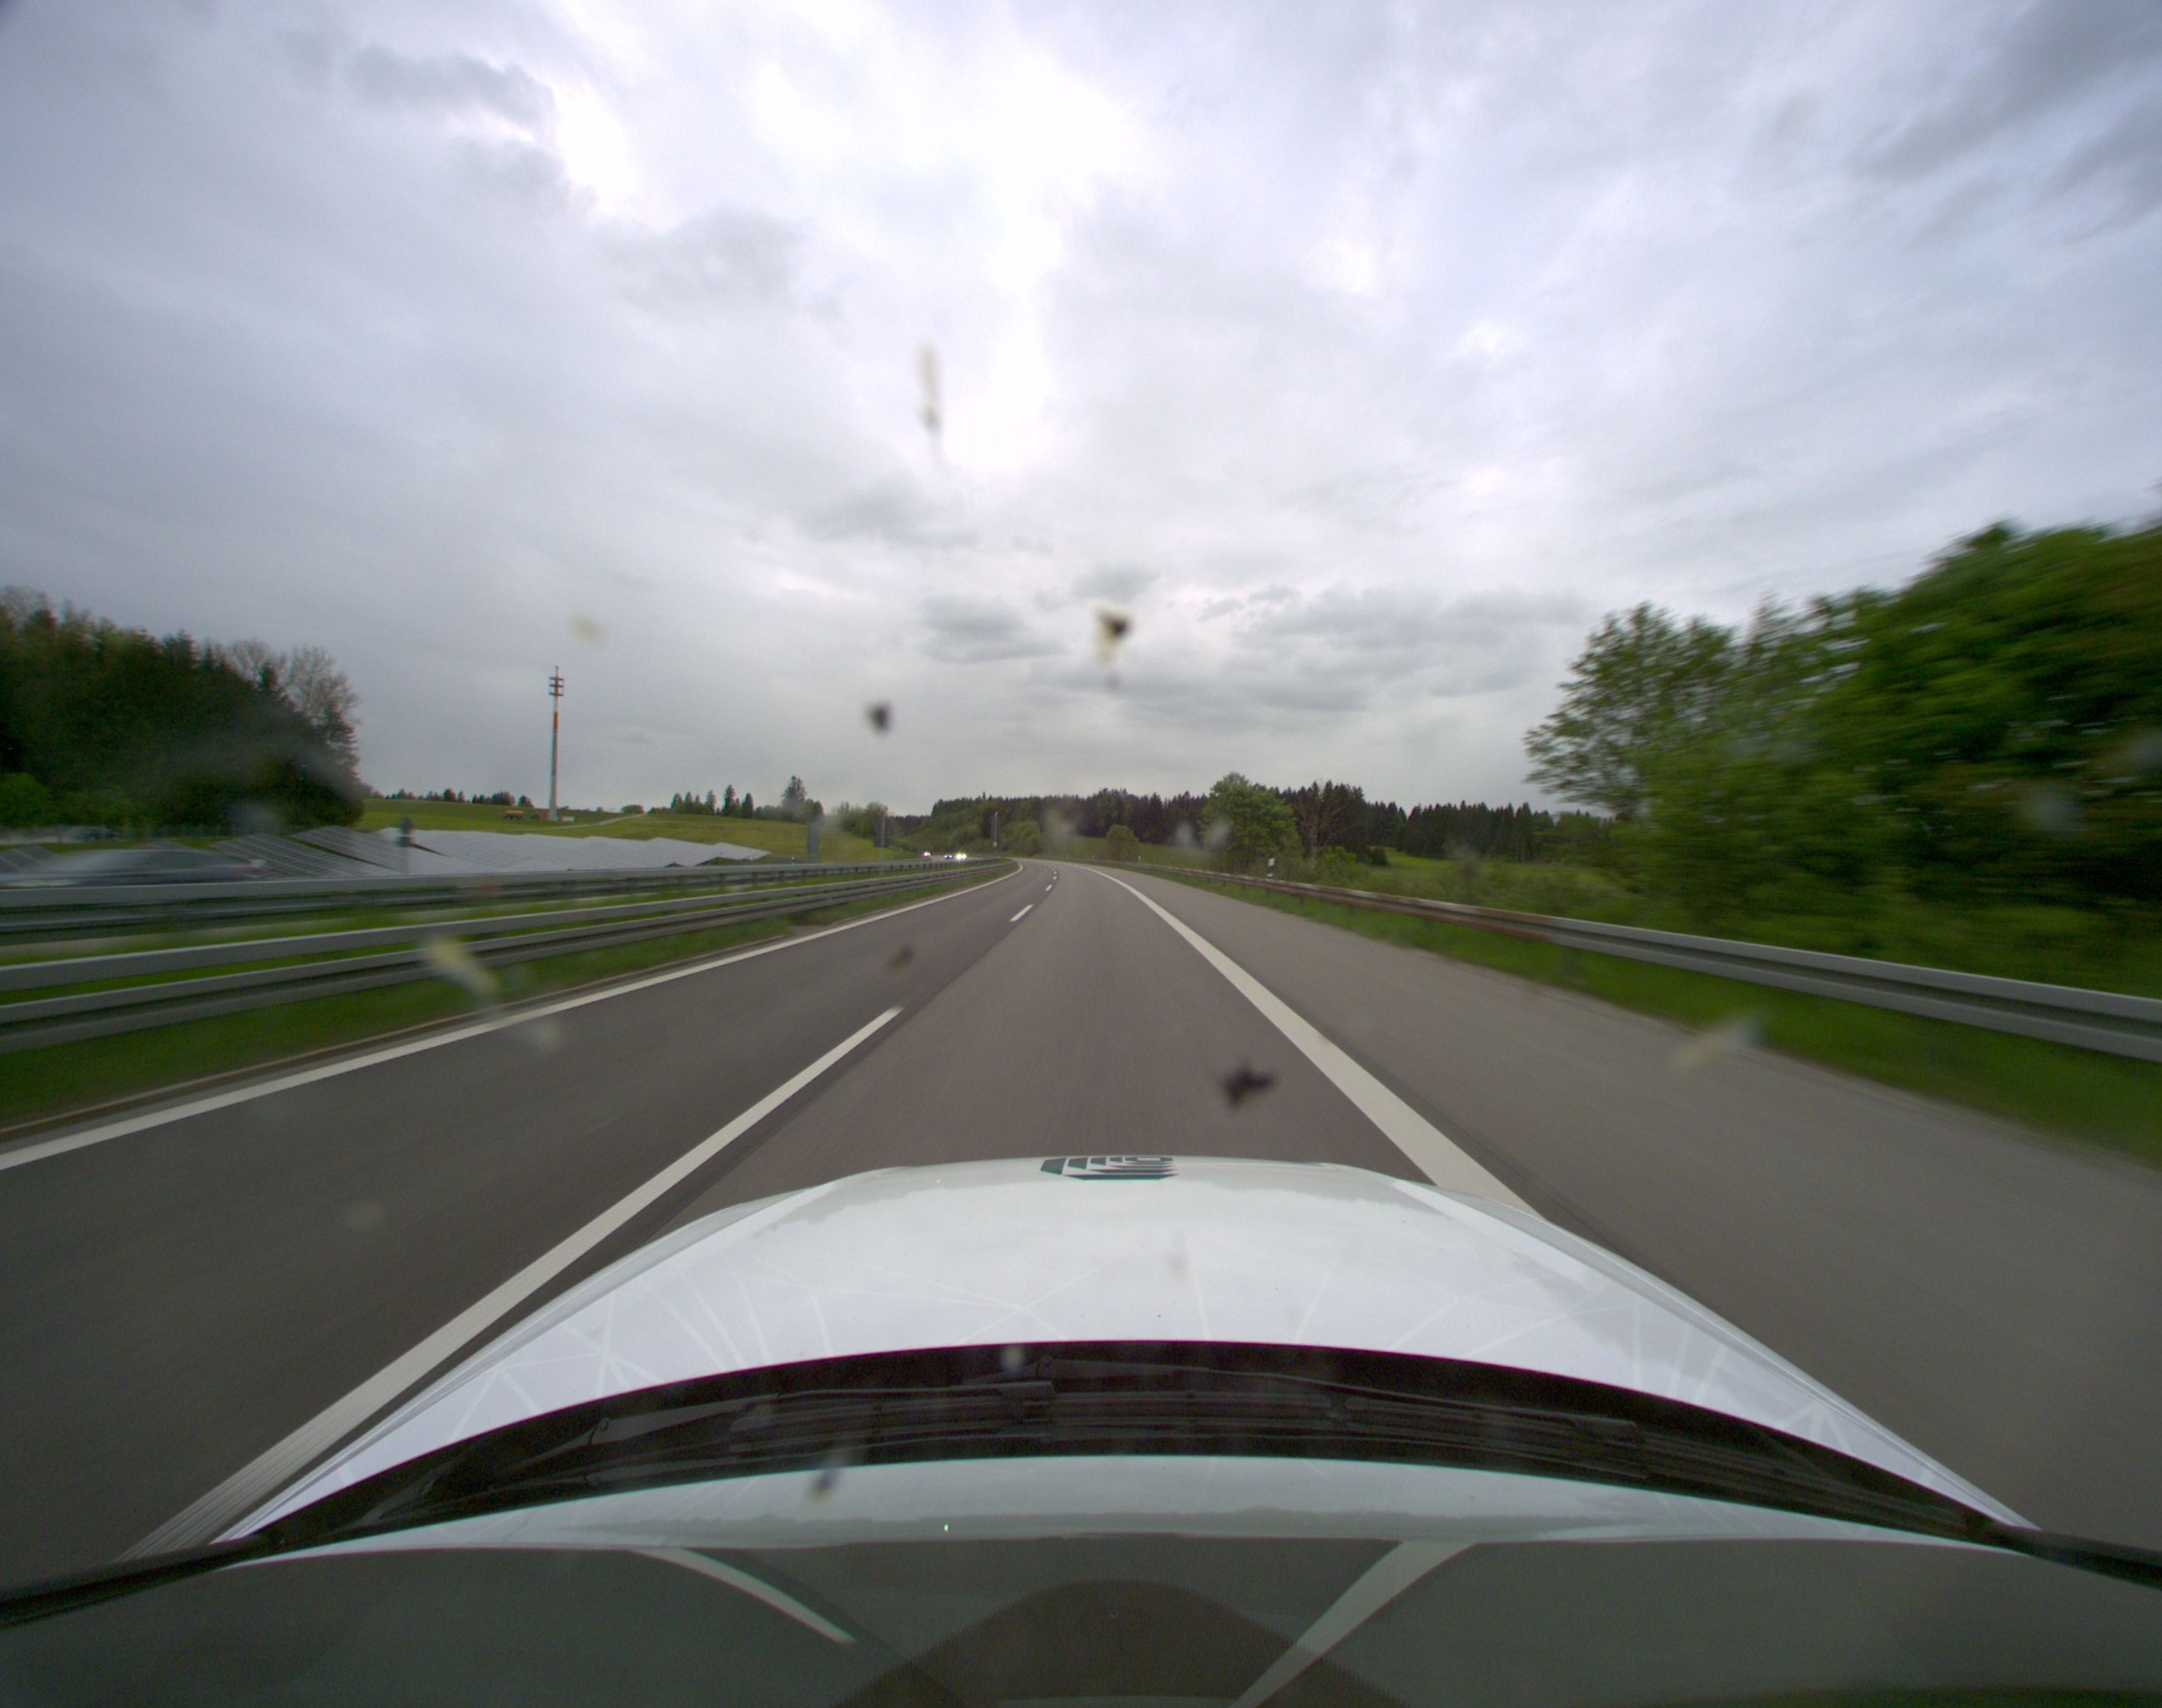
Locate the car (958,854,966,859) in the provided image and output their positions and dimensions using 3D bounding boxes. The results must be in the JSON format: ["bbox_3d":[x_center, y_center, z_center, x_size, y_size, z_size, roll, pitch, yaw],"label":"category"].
[{"bbox_3d":[-35.262,0.640,240.892,1.994,1.417,3.985,2,0,-11],"label":"car"}]

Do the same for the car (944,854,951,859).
[{"bbox_3d":[-38.072,0.648,231.924,1.994,1.440,4.983,2,0,-10],"label":"car"}]

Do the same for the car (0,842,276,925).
[{"bbox_3d":[-20.215,0.545,17.317,1.987,1.498,4.151,2,0,0],"label":"car"}]
